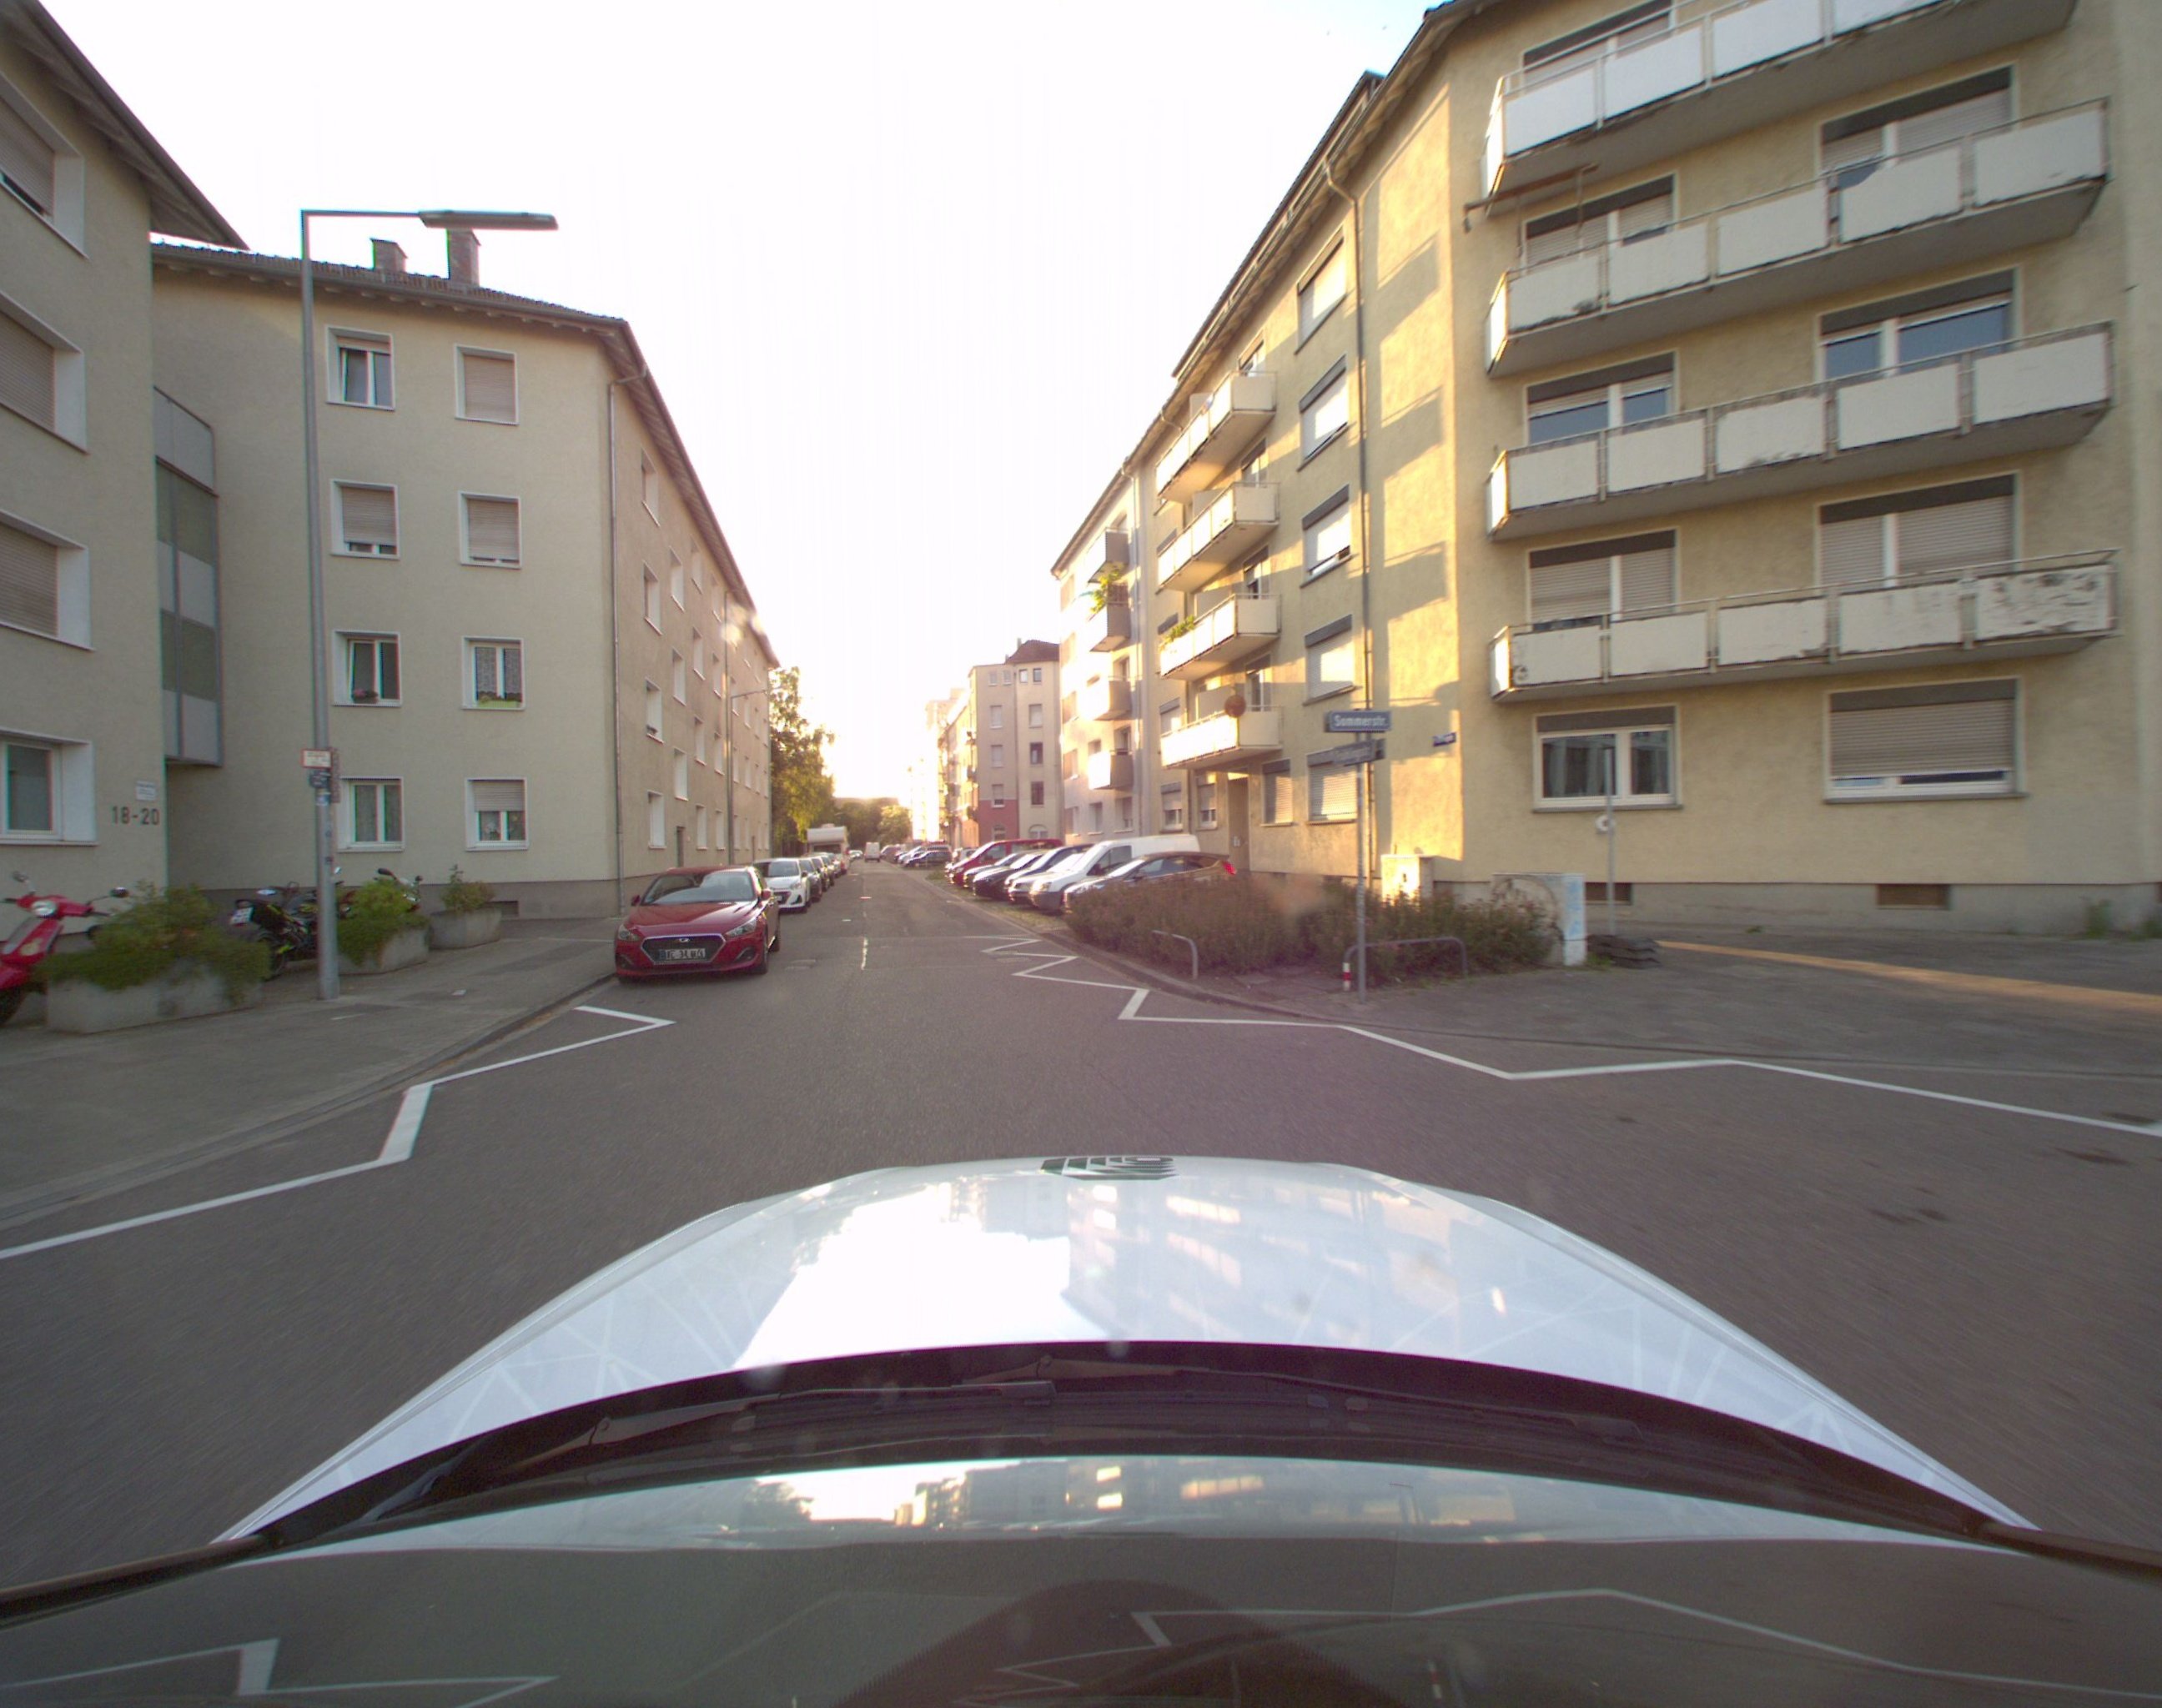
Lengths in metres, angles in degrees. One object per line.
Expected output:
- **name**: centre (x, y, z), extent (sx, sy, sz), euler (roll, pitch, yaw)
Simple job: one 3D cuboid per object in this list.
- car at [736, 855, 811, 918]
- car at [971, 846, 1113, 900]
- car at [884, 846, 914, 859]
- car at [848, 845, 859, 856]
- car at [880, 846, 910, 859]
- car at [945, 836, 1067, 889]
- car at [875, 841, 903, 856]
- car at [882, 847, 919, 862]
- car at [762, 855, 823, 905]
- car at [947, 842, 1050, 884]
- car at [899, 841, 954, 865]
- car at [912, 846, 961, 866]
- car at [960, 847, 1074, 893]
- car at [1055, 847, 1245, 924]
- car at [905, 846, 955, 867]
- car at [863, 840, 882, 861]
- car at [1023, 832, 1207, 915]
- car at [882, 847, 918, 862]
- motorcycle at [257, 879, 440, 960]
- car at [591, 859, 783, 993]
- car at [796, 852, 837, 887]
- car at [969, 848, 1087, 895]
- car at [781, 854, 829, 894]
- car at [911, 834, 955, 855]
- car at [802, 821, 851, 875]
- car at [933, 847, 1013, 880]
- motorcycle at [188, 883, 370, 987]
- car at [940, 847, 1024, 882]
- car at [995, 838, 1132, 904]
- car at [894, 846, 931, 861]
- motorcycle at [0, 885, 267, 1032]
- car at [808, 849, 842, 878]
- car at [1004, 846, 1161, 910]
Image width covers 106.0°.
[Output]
- **car**: centre (-8.407, 0.828, 22.508), extent (1.620, 1.473, 3.485), euler (-3, 1, -17)
- **car**: centre (-1.294, 0.583, 26.597), extent (4.317, 1.449, 1.646), euler (-3, 1, -16)
- **car**: centre (-25.083, -0.210, 112.148), extent (3.996, 1.530, 1.650), euler (-3, 1, -16)
- **car**: centre (-40.484, -0.567, 145.027), extent (1.657, 1.830, 3.854), euler (-3, 1, -17)
- **car**: centre (-26.504, -0.234, 116.043), extent (3.996, 1.530, 1.650), euler (-3, 1, -16)
- **car**: centre (-3.186, 0.321, 34.214), extent (4.733, 1.909, 2.048), euler (-3, 1, -17)
- **car**: centre (-35.023, -1.049, 148.477), extent (4.824, 2.407, 1.729), euler (-3, 1, -16)
- **car**: centre (-20.846, -0.009, 94.183), extent (3.996, 1.530, 1.650), euler (-3, 1, -16)
- **car**: centre (-9.646, 0.812, 27.425), extent (1.663, 1.434, 4.008), euler (-3, 1, -17)
- **car**: centre (-3.744, 0.385, 36.939), extent (4.334, 1.637, 1.808), euler (-3, 1, -17)
- **car**: centre (-14.373, -0.091, 75.838), extent (4.824, 1.967, 1.729), euler (-3, 1, -16)
- **car**: centre (-12.698, 0.135, 71.538), extent (3.996, 1.530, 1.650), euler (-3, 1, -16)
- **car**: centre (-2.511, 0.591, 31.775), extent (4.154, 1.471, 1.627), euler (-3, 1, -17)
- **car**: centre (1.517, 0.644, 18.247), extent (3.880, 1.492, 1.732), euler (-2, 1, -16)
- **car**: centre (-12.815, 0.194, 69.104), extent (3.996, 1.530, 1.650), euler (-3, 1, -16)
- **car**: centre (-28.242, -0.502, 110.257), extent (2.134, 2.717, 4.805), euler (-3, 1, -17)
- **car**: centre (0.825, 0.434, 20.414), extent (4.288, 1.860, 1.732), euler (-1, 0, -16)
- **car**: centre (-21.399, 0.006, 96.060), extent (3.996, 1.530, 1.650), euler (-3, 1, -16)
- **motorcycle**: centre (-11.035, 0.972, 12.313), extent (2.119, 1.105, 0.559), euler (-1, 0, -5)
- **car**: centre (-5.457, 0.863, 11.834), extent (1.849, 1.473, 4.055), euler (-2, 1, -17)
- **car**: centre (-12.424, 0.697, 38.428), extent (1.657, 1.434, 3.854), euler (-3, 1, -17)
- **car**: centre (-1.910, 0.586, 29.192), extent (3.885, 1.416, 1.627), euler (-3, 1, -18)
- **car**: centre (-11.281, 0.754, 33.422), extent (1.657, 1.434, 3.774), euler (-3, 1, -17)
- **car**: centre (-14.920, -1.003, 82.102), extent (4.000, 2.013, 1.987), euler (-2, 1, -20)
- **car**: centre (-17.017, -0.398, 54.755), extent (2.625, 3.268, 7.658), euler (-3, 1, -15)
- **car**: centre (-5.542, 0.458, 41.781), extent (3.820, 1.428, 1.625), euler (-3, 1, -17)
- **motorcycle**: centre (-10.059, 0.959, 10.330), extent (0.683, 1.079, 2.024), euler (-1, 1, -14)
- **car**: centre (-4.800, 0.478, 39.391), extent (3.820, 1.428, 1.625), euler (-3, 1, -17)
- **car**: centre (-0.545, 0.463, 24.530), extent (3.798, 1.695, 1.646), euler (-3, 1, -16)
- **car**: centre (-19.044, -0.036, 92.128), extent (3.996, 1.530, 1.650), euler (-3, 1, -16)
- **motorcycle**: centre (-9.533, 0.947, 8.060), extent (0.684, 1.160, 2.039), euler (-1, 1, 9)
- **car**: centre (-15.022, 0.546, 47.859), extent (1.656, 1.541, 3.856), euler (-3, 1, -15)
- **car**: centre (0.019, 0.595, 22.264), extent (3.963, 1.522, 1.697), euler (-2, 1, -16)
